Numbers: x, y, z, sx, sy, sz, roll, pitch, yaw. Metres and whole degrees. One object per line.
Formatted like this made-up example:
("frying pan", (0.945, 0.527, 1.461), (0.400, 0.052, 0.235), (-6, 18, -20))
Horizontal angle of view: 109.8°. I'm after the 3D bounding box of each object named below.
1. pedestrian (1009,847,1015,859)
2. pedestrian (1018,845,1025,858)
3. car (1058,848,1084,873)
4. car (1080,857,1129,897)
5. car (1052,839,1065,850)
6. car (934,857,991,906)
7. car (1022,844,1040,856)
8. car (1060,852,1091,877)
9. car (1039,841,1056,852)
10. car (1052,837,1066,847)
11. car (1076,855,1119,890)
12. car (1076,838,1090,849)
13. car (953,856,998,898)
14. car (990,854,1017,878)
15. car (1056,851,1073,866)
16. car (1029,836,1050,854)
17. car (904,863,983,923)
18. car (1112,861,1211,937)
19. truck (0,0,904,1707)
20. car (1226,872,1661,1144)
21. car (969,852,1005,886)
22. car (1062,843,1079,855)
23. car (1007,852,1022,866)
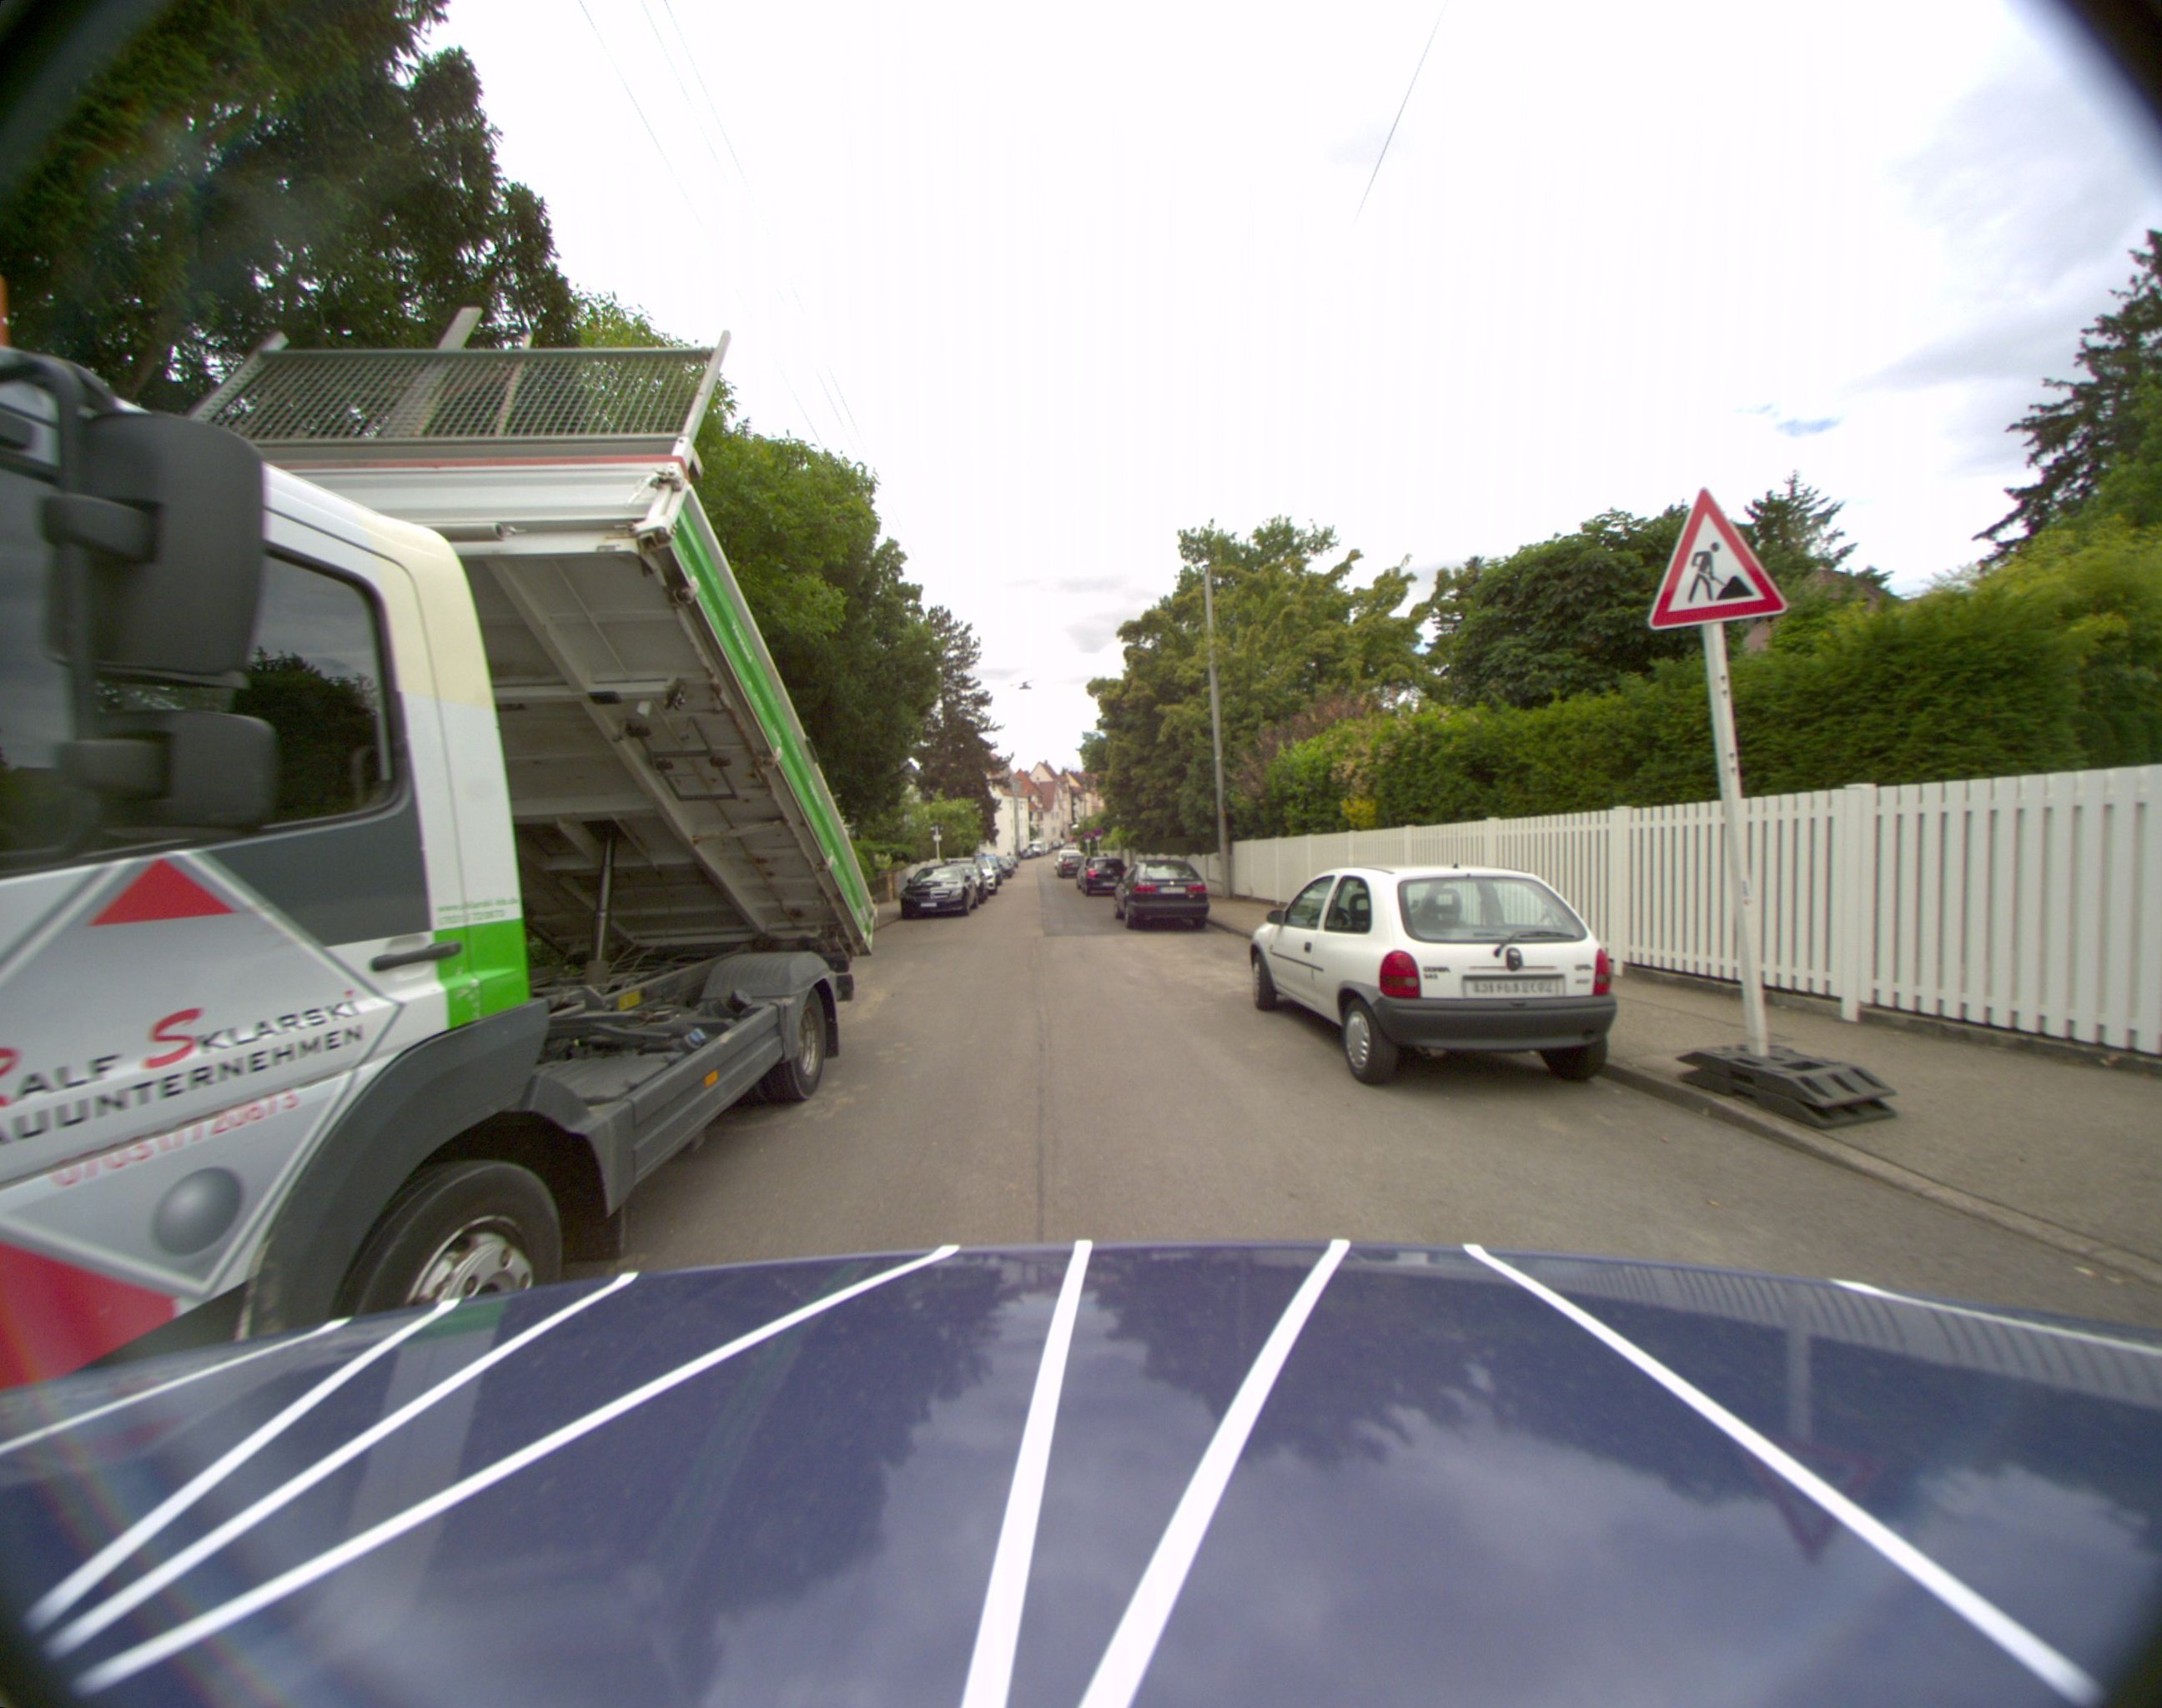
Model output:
("pedestrian", (-9.654, -0.133, 106.337), (0.682, 1.568, 0.906), (0, 3, 3))
("pedestrian", (-8.013, -0.346, 102.221), (0.822, 1.750, 0.643), (-4, 3, -4))
("car", (-0.835, 0.467, 59.476), (1.860, 1.902, 4.617), (0, 1, -3))
("car", (0.889, 0.877, 30.438), (1.659, 1.472, 3.886), (0, 0, -3))
("car", (-3.979, -1.721, 135.493), (1.780, 1.711, 4.000), (-2, 3, 6))
("car", (-4.269, 0.951, 27.964), (1.703, 1.561, 4.306), (-2, 1, -5))
("car", (-7.392, -0.618, 112.430), (1.822, 1.478, 4.286), (-2, 3, 6))
("car", (-0.440, 0.702, 52.864), (1.796, 1.614, 4.340), (-1, 0, -5))
("car", (-5.450, -1.205, 124.478), (1.828, 1.437, 4.383), (-3, 4, 9))
("car", (-3.907, -2.133, 135.527), (1.608, 1.482, 4.022), (-3, 4, 8))
("car", (0.724, 0.834, 35.150), (1.627, 1.524, 2.960), (0, 0, -6))
("car", (0.348, -1.767, 127.633), (1.806, 1.472, 4.328), (-1, 4, 8))
("car", (-4.619, 0.964, 33.609), (1.763, 1.596, 4.572), (-4, 1, -7))
("car", (-5.944, 0.917, 58.466), (1.755, 1.599, 4.073), (-4, 1, -3))
("car", (-1.684, 0.464, 78.378), (1.446, 1.543, 2.770), (1, 1, 4))
("car", (-6.447, -1.426, 118.316), (1.997, 2.410, 5.292), (-1, 4, 9))
("car", (-3.962, 1.067, 22.588), (1.656, 1.415, 4.659), (-3, 1, -3))
("car", (1.664, 0.902, 17.112), (1.645, 1.414, 4.548), (0, 0, -1))
("truck", (-3.008, -0.547, 3.895), (2.531, 4.721, 7.184), (-3, 1, -3))
("car", (2.477, 0.928, 6.367), (1.600, 1.425, 3.999), (-1, 0, -2))
("car", (-5.462, 0.838, 44.457), (1.687, 1.818, 4.155), (-4, 0, -4))
("car", (-1.537, -0.800, 113.375), (1.807, 1.650, 4.152), (1, 3, 7))
("car", (-7.837, 0.559, 88.895), (1.576, 1.523, 2.866), (-5, 1, -6))
